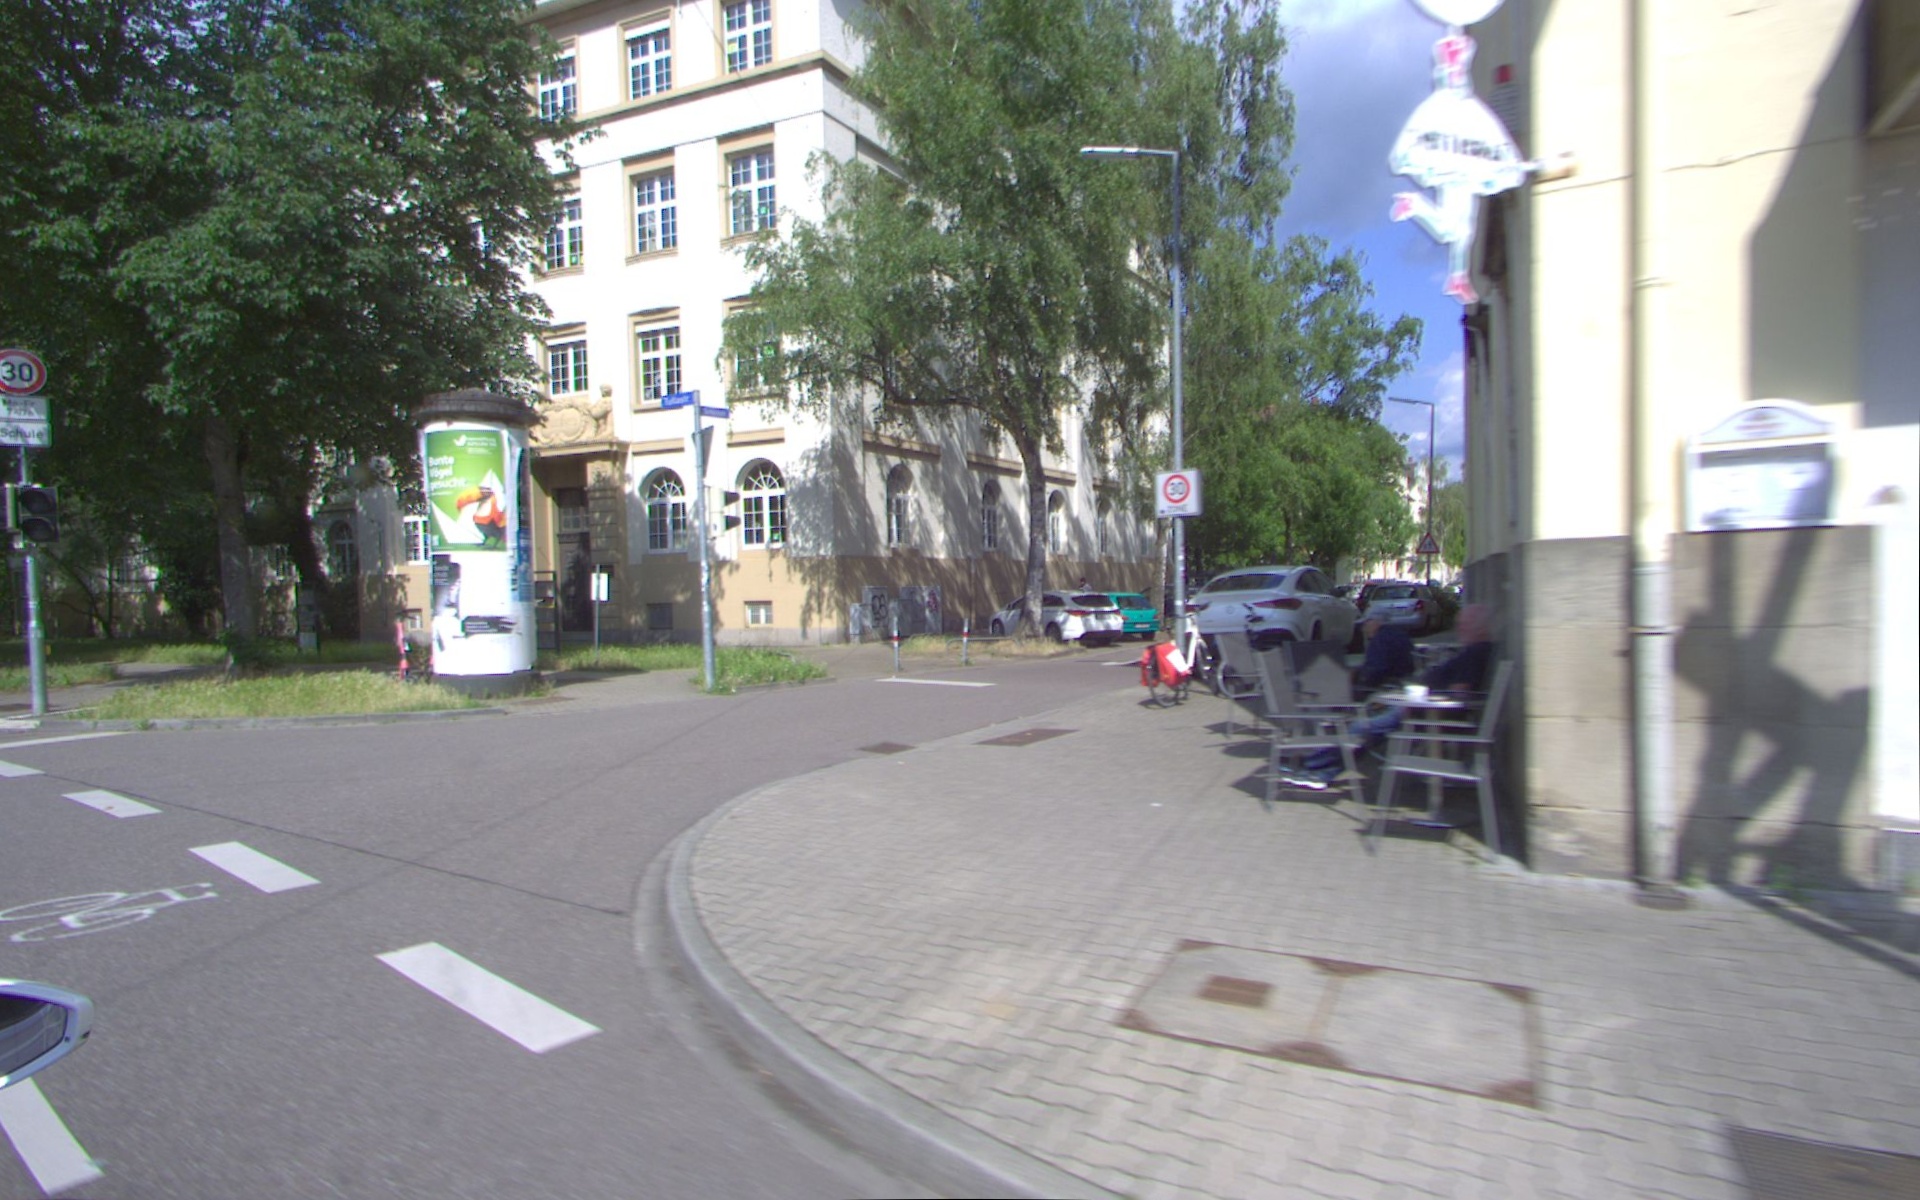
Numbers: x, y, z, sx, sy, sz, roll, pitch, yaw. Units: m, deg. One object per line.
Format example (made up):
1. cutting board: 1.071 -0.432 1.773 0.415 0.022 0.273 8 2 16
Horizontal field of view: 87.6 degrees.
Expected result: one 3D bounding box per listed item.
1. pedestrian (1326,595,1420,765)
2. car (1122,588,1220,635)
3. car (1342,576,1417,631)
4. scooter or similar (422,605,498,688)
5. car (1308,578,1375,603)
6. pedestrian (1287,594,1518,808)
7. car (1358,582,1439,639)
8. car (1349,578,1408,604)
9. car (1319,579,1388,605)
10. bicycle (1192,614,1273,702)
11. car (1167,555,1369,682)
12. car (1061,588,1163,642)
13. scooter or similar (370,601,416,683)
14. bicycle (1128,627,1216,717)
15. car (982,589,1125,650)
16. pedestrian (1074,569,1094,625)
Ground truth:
1. pedestrian: 3.298 0.614 7.985 0.650 1.286 0.534 -1 2 26
2. car: 7.001 0.358 33.500 1.568 1.476 3.254 -2 1 -25
3. car: 14.269 0.074 33.986 1.712 1.762 3.628 1 1 33
4. scooter or similar: -7.861 0.708 15.745 1.011 1.247 0.435 -2 1 -30
5. car: 23.251 -0.566 61.147 1.684 1.417 3.724 -2 1 -26
6. pedestrian: 2.863 0.632 6.530 1.283 1.285 0.534 -3 0 26
7. car: 12.461 0.270 28.356 1.599 1.478 3.576 -3 -1 31
8. car: 27.986 -0.584 67.103 1.392 1.686 3.490 -2 1 -32
9. car: 24.953 -0.486 63.623 1.683 1.554 3.980 -2 1 -29
10. bicycle: 3.602 0.737 13.144 0.576 0.981 1.644 -3 1 30
11. car: 5.176 0.236 16.363 1.886 1.756 4.746 -2 0 33
12. car: 4.402 0.416 29.352 1.363 1.476 3.253 -2 1 -26
13. scooter or similar: -8.627 0.618 15.230 0.303 1.205 1.151 -3 2 -44
14. bicycle: 2.702 0.880 12.645 0.576 0.981 1.645 -2 0 30
15. car: 2.463 0.483 27.571 1.598 1.506 4.520 -2 1 -30
16. pedestrian: 4.588 -0.123 36.922 0.495 2.041 0.625 0 2 31
